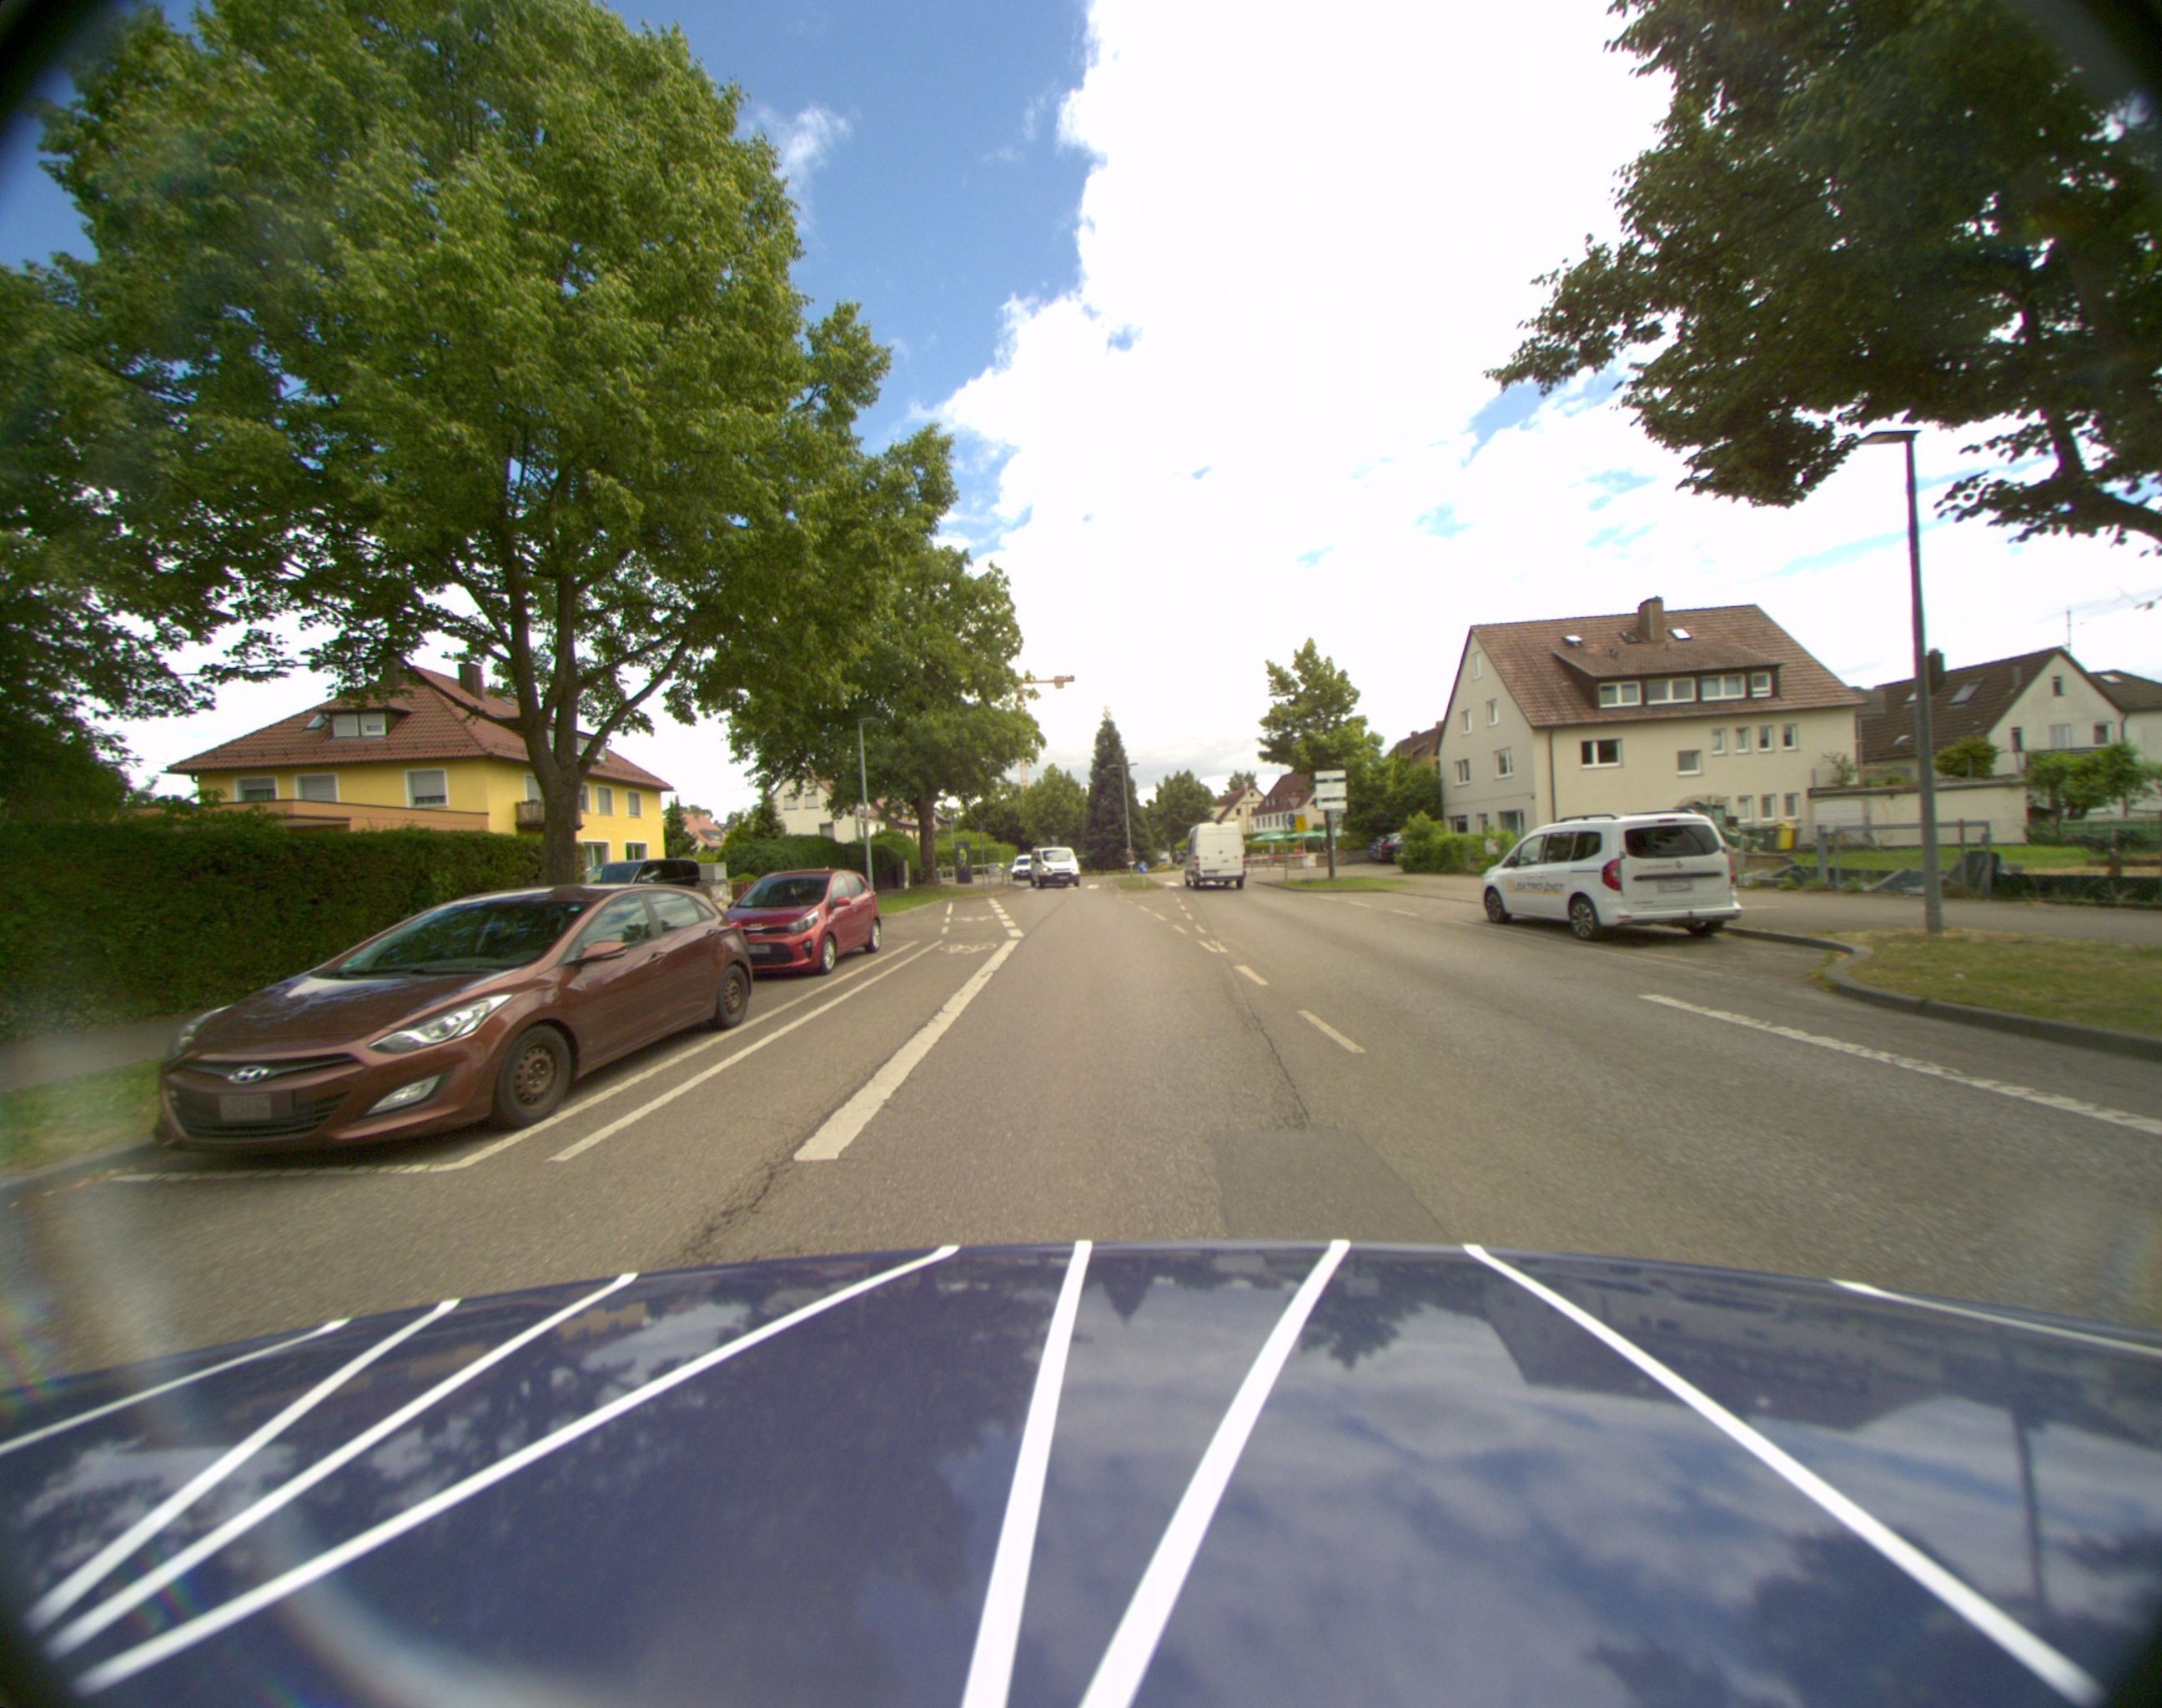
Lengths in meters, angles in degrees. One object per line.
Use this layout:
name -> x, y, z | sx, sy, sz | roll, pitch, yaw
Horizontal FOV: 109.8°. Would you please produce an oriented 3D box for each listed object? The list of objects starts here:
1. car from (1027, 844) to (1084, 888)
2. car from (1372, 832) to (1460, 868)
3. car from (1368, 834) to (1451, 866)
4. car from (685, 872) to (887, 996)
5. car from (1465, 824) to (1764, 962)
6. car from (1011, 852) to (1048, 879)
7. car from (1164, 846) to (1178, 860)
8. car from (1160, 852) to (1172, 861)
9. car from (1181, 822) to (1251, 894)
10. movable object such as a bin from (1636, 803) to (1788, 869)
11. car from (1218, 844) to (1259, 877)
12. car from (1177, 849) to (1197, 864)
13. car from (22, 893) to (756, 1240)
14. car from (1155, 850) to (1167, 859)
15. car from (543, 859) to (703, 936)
car -> -1.392, 0.593, 38.962 | 2.000, 2.002, 5.045 | -3, 0, -11
car -> 18.070, -0.235, 41.172 | 3.926, 1.653, 1.855 | -4, 2, 6
car -> 18.734, -0.245, 43.465 | 3.928, 1.527, 1.819 | -4, 1, 1
car -> -4.286, 1.084, 11.660 | 1.569, 1.447, 3.668 | -3, 0, 1
car -> 8.247, 0.525, 12.387 | 1.774, 1.760, 4.552 | -3, 0, 3
car -> -3.719, 0.803, 55.388 | 1.925, 1.744, 4.002 | -3, 0, 6
car -> 12.562, -0.113, 105.730 | 1.750, 1.819, 4.049 | -3, 0, 5
car -> 14.220, 0.378, 127.484 | 1.665, 1.466, 3.747 | -3, 0, 0
car -> 5.540, 0.164, 31.926 | 2.023, 2.658, 5.806 | -3, 0, 3
movable object such as a bin -> 23.161, -0.605, 28.151 | 1.901, 2.175, 4.362 | -2, 0, -1
car -> 9.323, 0.357, 45.189 | 1.925, 1.744, 4.002 | -3, 0, 6
car -> 12.535, 0.334, 89.915 | 1.751, 1.626, 4.048 | -3, 0, 1
car -> -4.182, 1.122, 5.705 | 1.657, 1.407, 4.177 | -1, 0, 0
car -> 14.157, 0.139, 134.877 | 1.665, 1.466, 3.747 | -3, 0, 0
car -> -13.151, 1.163, 22.213 | 1.820, 1.870, 4.468 | -4, 0, 0
